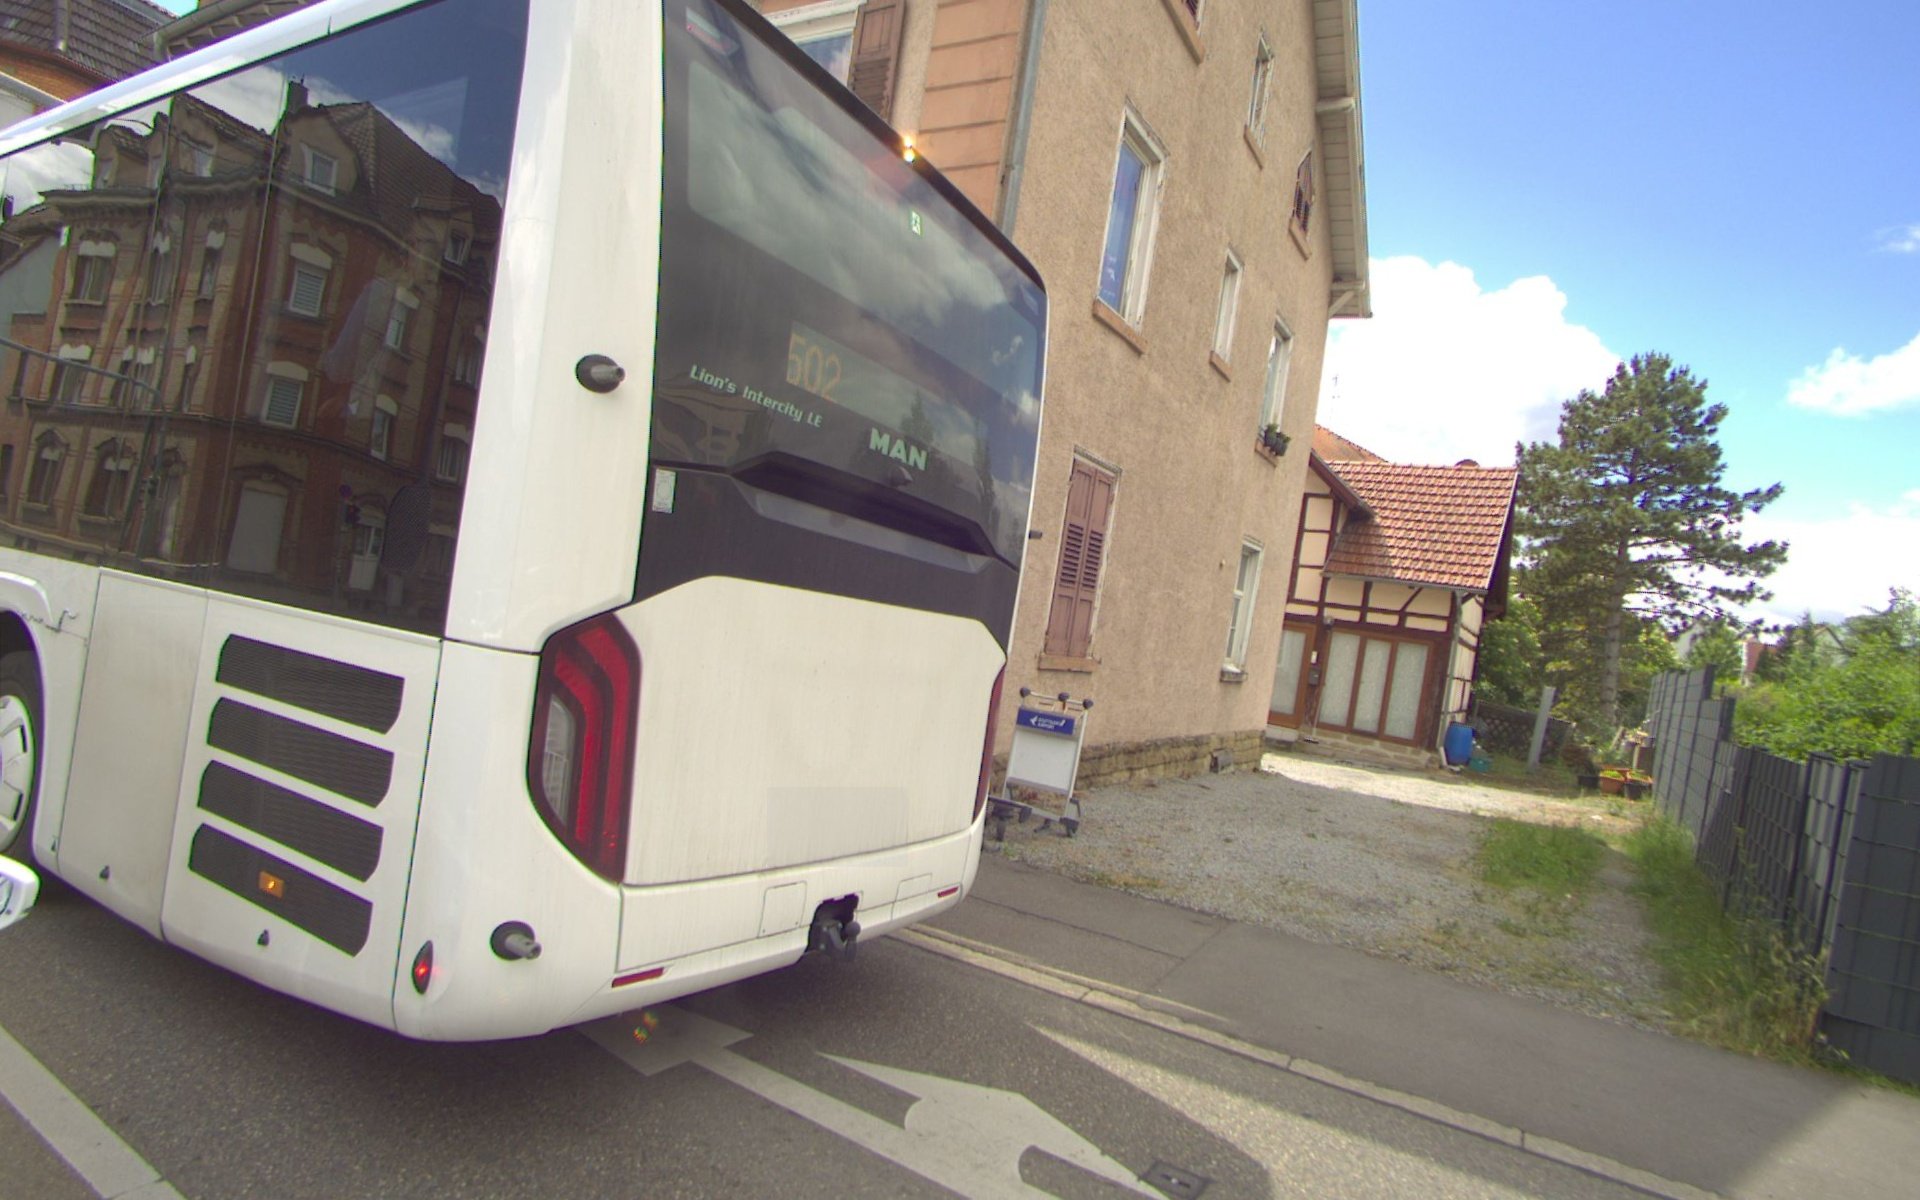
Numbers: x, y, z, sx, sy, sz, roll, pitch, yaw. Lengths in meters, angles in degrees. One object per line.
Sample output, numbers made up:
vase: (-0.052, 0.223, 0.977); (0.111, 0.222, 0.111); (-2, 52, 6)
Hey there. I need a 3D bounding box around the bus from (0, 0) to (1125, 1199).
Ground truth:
bus: (-5.404, -0.745, 6.444); (12.281, 3.551, 2.910); (6, -2, 32)
